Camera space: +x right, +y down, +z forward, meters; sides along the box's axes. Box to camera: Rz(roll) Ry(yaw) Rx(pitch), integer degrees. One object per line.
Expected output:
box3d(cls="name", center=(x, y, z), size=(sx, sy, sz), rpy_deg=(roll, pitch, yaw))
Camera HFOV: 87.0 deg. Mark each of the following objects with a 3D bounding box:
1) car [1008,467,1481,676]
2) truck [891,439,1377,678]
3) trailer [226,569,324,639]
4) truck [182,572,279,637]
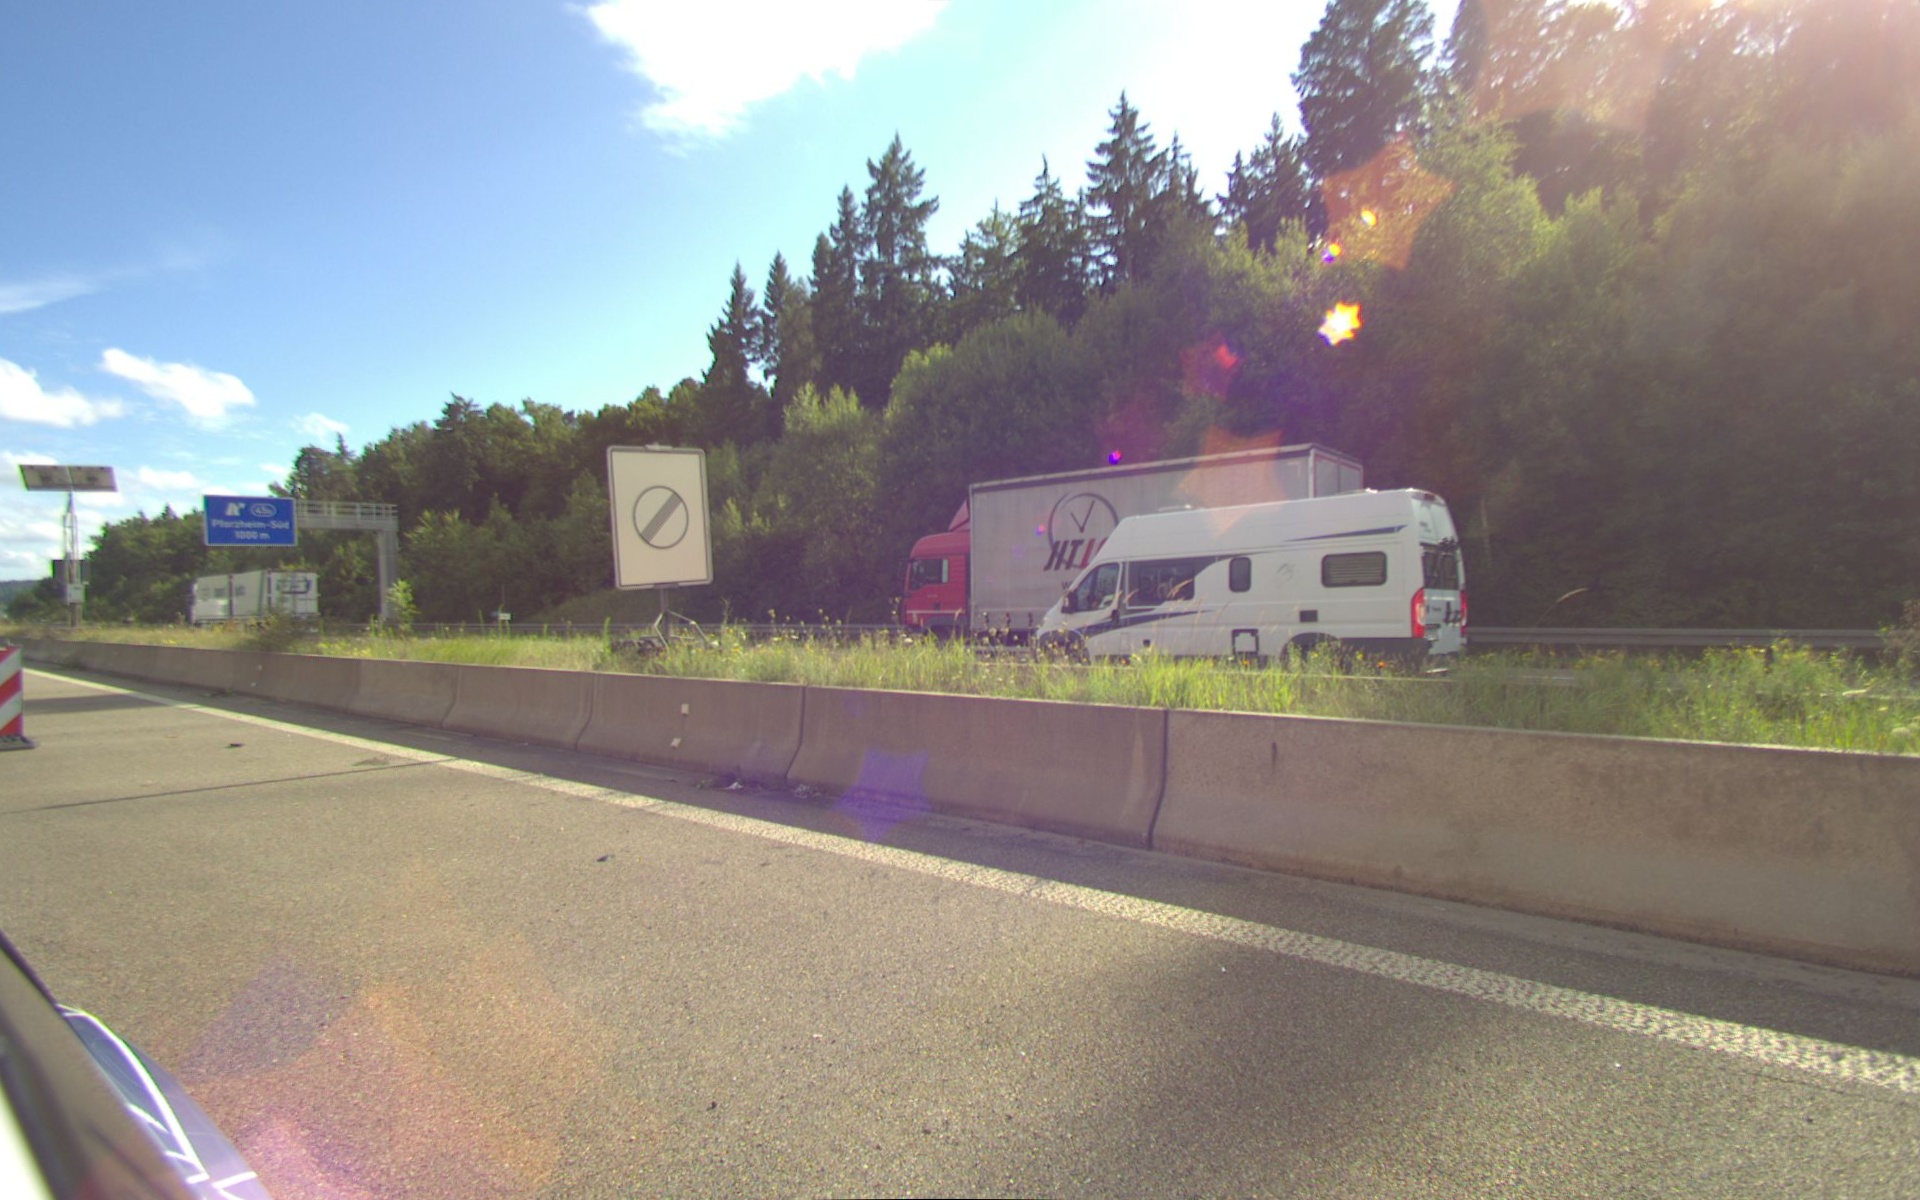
box3d(cls="car", center=(3.871, -0.227, 14.852), size=(6.328, 2.470, 2.137), rpy_deg=(-3, -2, 42))
box3d(cls="truck", center=(3.120, -0.614, 21.444), size=(10.180, 4.022, 2.771), rpy_deg=(-2, -1, 41))
box3d(cls="trailer", center=(-40.962, 0.259, 60.375), size=(8.484, 3.953, 2.762), rpy_deg=(-1, 0, 41))
box3d(cls="truck", center=(-48.248, 0.325, 66.737), size=(10.856, 4.015, 2.754), rpy_deg=(-1, 0, 41))
